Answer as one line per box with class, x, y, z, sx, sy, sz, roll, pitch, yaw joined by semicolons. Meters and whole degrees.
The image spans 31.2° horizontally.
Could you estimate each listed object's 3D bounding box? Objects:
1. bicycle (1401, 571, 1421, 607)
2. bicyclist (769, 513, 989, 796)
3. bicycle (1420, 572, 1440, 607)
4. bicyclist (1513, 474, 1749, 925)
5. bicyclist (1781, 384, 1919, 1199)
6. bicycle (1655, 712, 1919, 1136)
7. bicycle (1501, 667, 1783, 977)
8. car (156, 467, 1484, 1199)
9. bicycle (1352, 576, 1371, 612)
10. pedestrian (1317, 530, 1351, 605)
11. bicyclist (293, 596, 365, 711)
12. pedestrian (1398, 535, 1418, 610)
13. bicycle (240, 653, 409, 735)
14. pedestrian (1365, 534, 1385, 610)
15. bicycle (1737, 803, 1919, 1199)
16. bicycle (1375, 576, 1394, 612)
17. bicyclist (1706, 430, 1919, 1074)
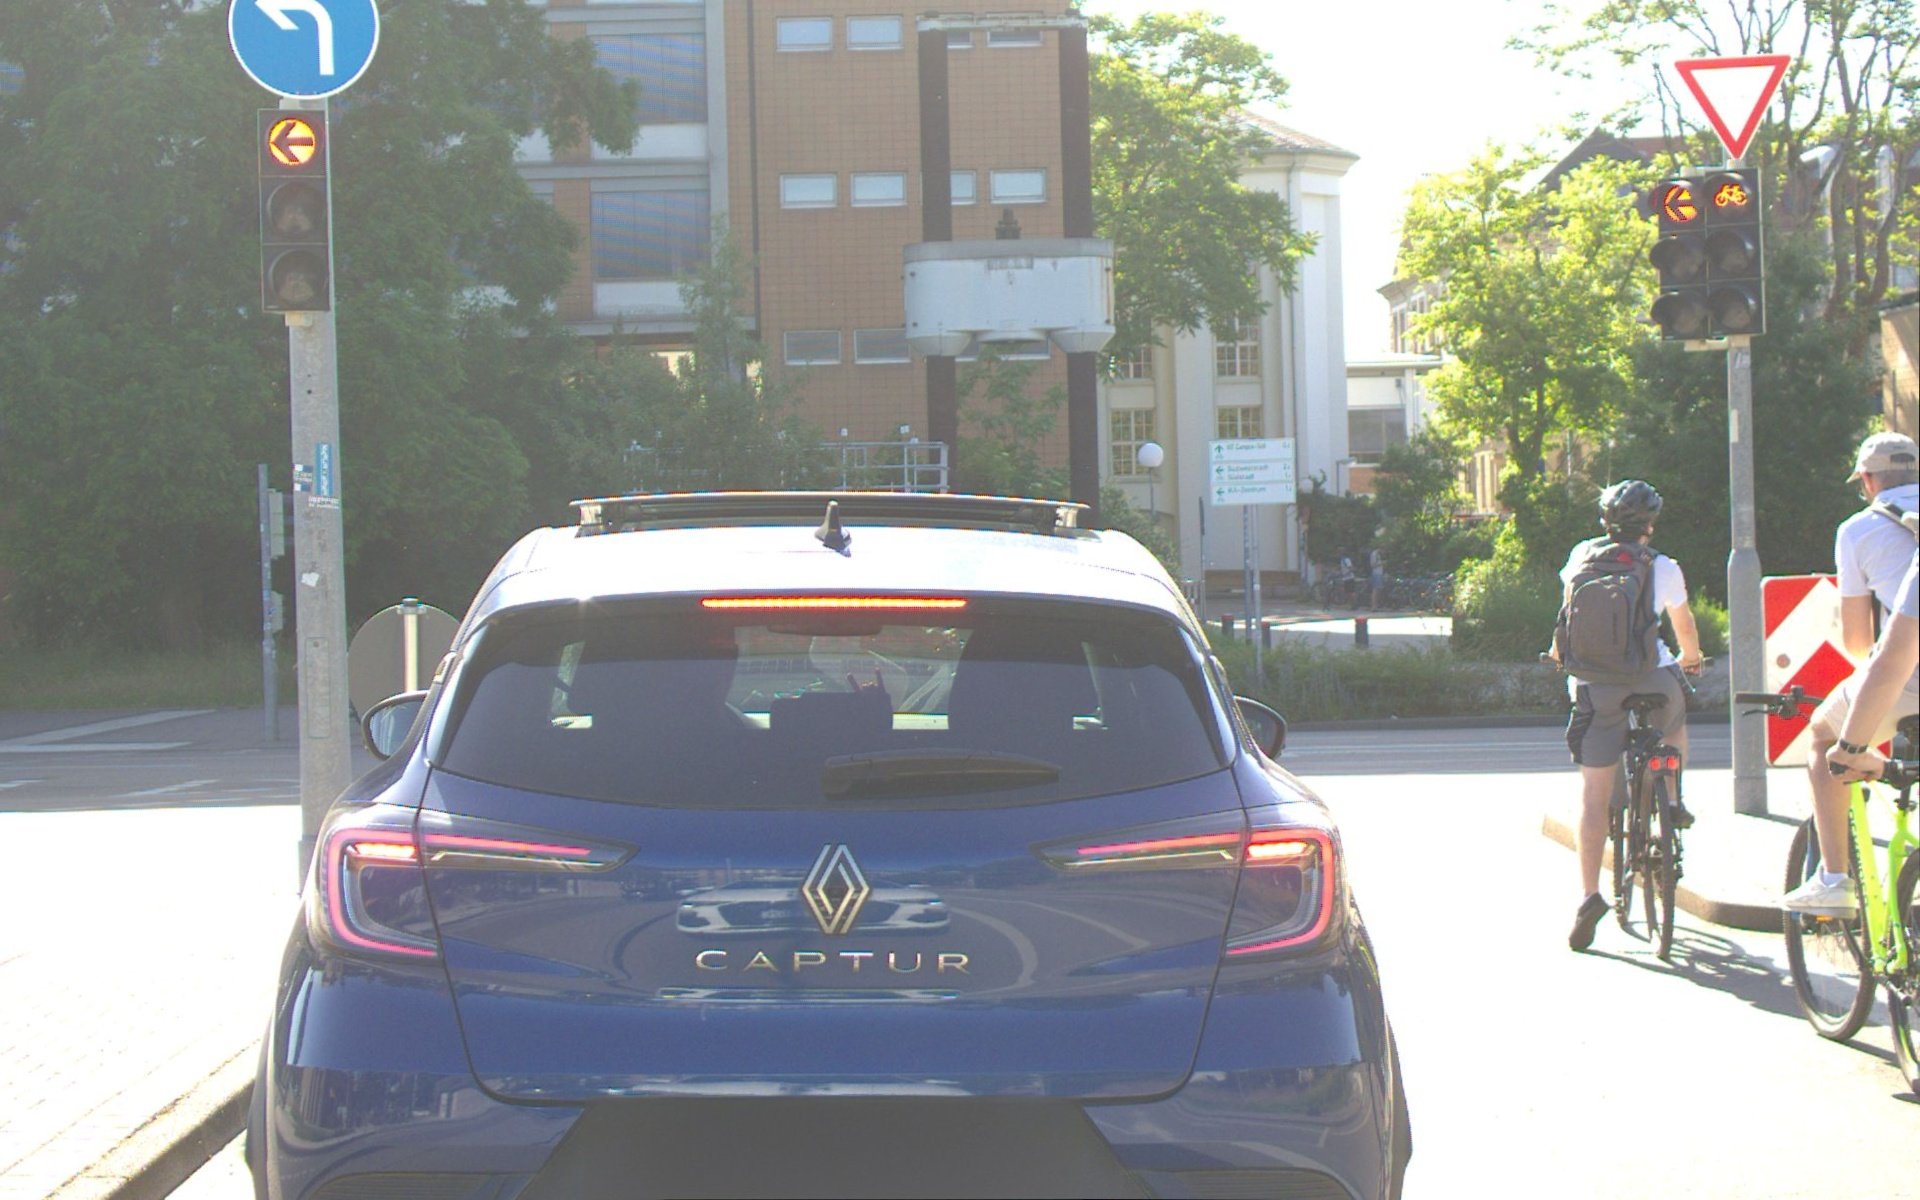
bicycle;12.380;-0.302;94.399;0.405;0.969;1.683;1;1;4
bicyclist;-0.441;0.298;19.128;1.069;1.494;0.741;-3;0;5
bicycle;12.915;-0.295;94.412;0.405;0.969;1.683;1;1;4
bicyclist;2.509;0.356;12.941;0.726;1.623;0.969;1;0;4
bicyclist;2.233;0.409;7.241;0.751;1.663;1.016;1;0;1
bicycle;2.613;0.866;9.817;0.659;0.999;1.970;1;1;-6
bicycle;2.512;0.782;12.897;0.739;0.992;2.173;1;1;3
car;-0.267;0.614;6.692;1.803;1.626;4.000;0;1;-2
bicycle;10.989;-0.175;94.076;0.405;0.969;1.683;1;1;4
pedestrian;10.152;-0.886;93.377;0.859;2.007;0.468;-1;1;6
bicyclist;-8.033;0.676;43.782;0.737;1.436;0.598;-1;1;-27
pedestrian;12.036;-0.747;92.390;0.475;2.007;0.468;-1;1;6
bicycle;-8.081;1.190;43.765;2.005;0.961;0.598;-2;1;-27
pedestrian;10.979;-0.748;91.039;0.475;2.007;0.523;-1;1;6
bicycle;2.229;0.949;7.252;0.740;0.893;1.978;1;1;1
bicycle;11.612;-0.165;94.033;0.405;0.969;1.683;1;1;4
bicyclist;2.624;0.408;9.806;0.645;1.733;1.067;1;0;-6
